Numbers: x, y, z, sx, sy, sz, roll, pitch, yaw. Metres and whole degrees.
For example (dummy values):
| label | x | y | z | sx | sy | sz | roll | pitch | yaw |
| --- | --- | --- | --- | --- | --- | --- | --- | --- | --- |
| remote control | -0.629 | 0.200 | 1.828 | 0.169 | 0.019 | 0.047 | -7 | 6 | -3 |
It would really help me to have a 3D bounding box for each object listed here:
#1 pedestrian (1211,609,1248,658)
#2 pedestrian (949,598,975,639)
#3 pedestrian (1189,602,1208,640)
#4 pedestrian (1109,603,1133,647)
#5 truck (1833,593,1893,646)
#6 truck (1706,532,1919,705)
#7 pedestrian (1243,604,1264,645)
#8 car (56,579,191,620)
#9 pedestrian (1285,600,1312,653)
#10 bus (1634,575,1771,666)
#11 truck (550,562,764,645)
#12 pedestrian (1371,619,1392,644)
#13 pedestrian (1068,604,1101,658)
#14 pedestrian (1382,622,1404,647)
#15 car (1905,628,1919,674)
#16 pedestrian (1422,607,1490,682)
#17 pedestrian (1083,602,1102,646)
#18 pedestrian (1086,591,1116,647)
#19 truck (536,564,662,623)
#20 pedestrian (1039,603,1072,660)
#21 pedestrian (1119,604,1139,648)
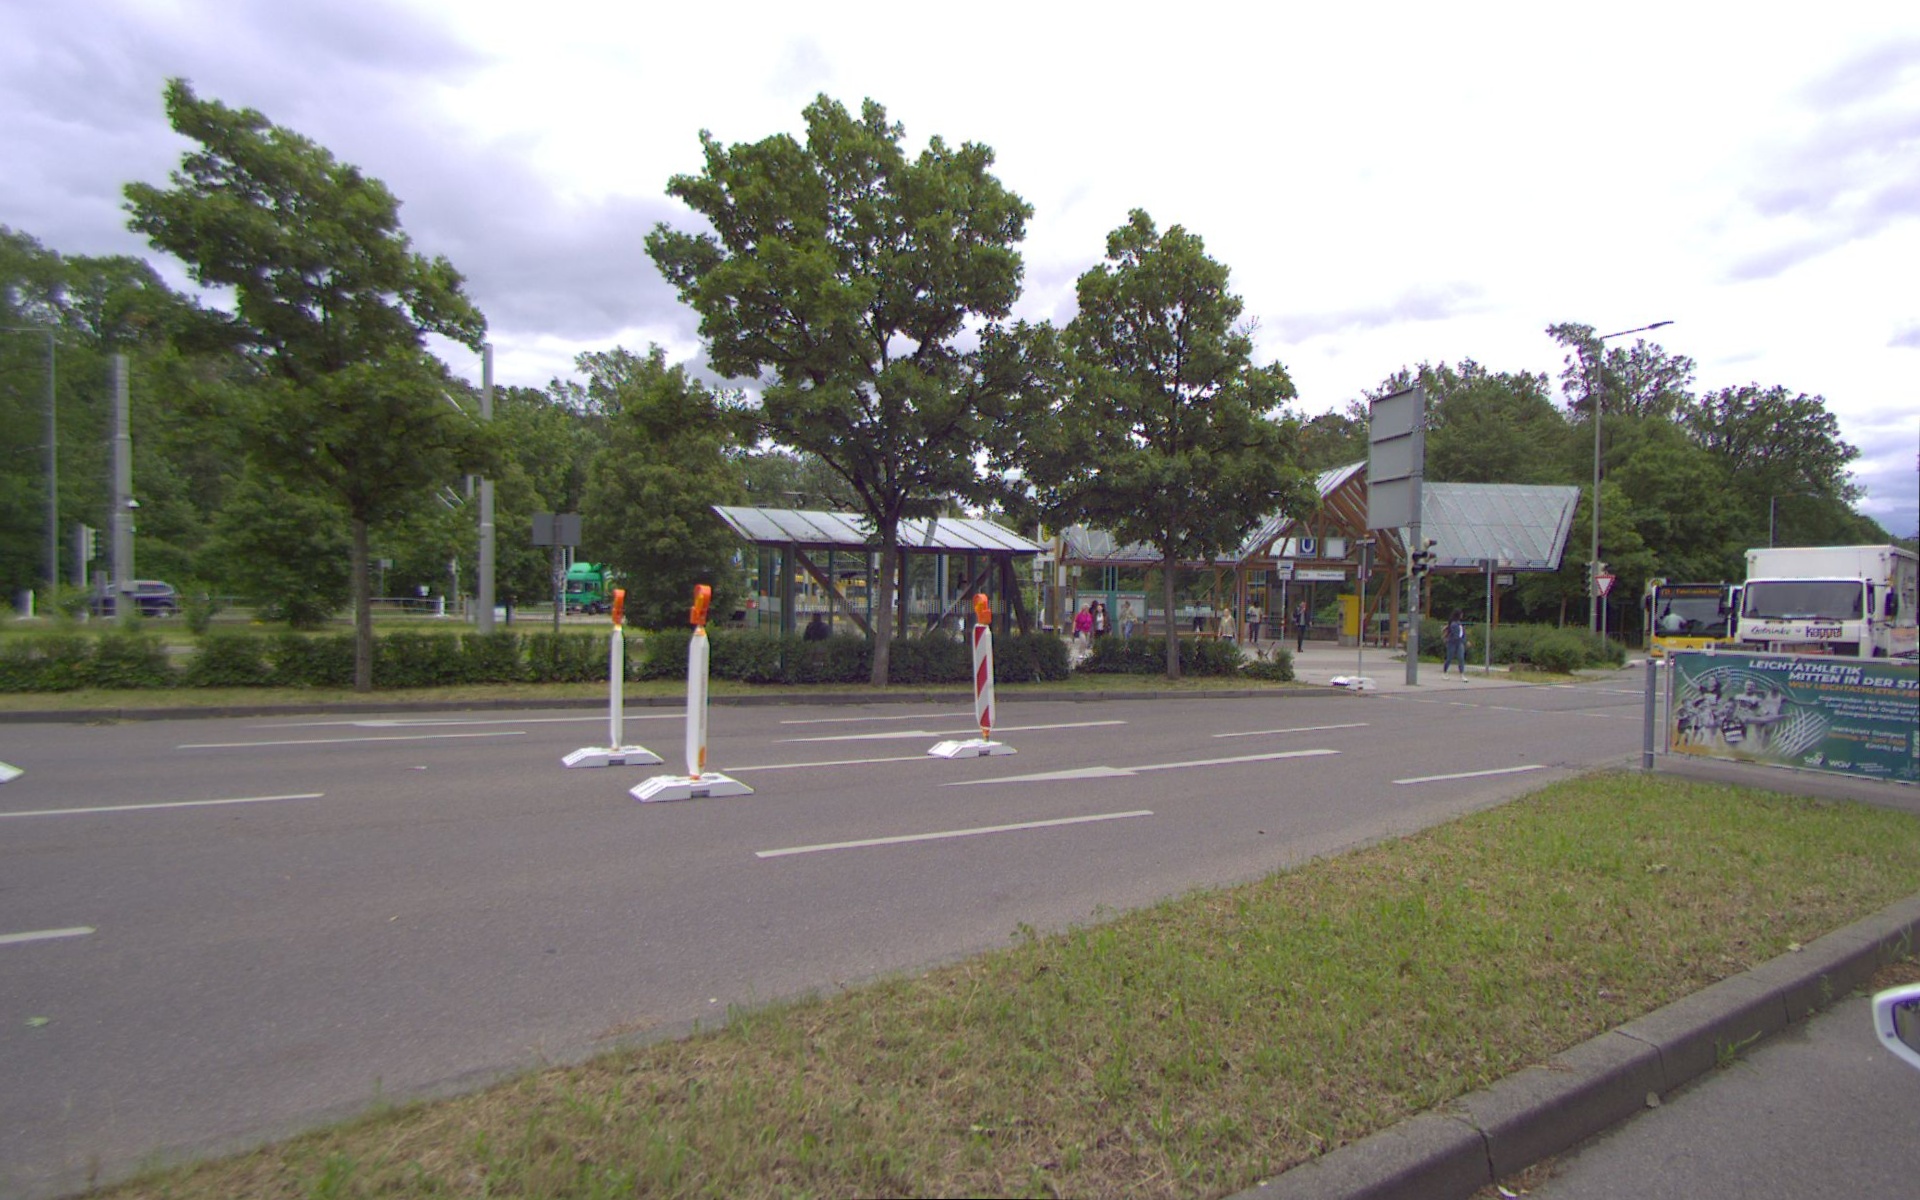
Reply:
| label | x | y | z | sx | sy | sz | roll | pitch | yaw |
| --- | --- | --- | --- | --- | --- | --- | --- | --- | --- |
| pedestrian | 8.796 | 1.083 | 32.838 | 0.868 | 1.545 | 0.759 | 0 | 2 | -38 |
| pedestrian | 0.094 | 0.741 | 41.072 | 0.770 | 1.647 | 0.769 | 2 | 2 | 23 |
| pedestrian | 10.151 | 0.882 | 42.804 | 0.598 | 1.575 | 0.463 | 1 | 2 | -18 |
| pedestrian | 6.171 | 0.948 | 38.603 | 0.576 | 1.647 | 0.669 | 1 | 2 | -28 |
| truck | 60.885 | 1.413 | 67.842 | 2.707 | 3.361 | 7.127 | -1 | -3 | 40 |
| truck | 18.839 | 0.434 | 21.949 | 6.153 | 3.281 | 2.608 | 2 | -2 | -39 |
| pedestrian | 11.807 | 0.984 | 40.410 | 0.662 | 1.618 | 0.673 | 2 | 1 | 7 |
| car | -38.026 | -0.046 | 45.785 | 1.963 | 1.706 | 4.306 | 2 | 1 | 26 |
| pedestrian | 12.179 | 0.942 | 36.112 | 0.752 | 1.833 | 0.994 | 2 | 2 | 25 |
| bus | 29.347 | 0.784 | 39.464 | 9.697 | 3.168 | 2.869 | 2 | 0 | -45 |
| truck | -9.043 | 0.057 | 30.722 | 2.559 | 2.199 | 6.293 | 2 | 1 | 28 |
| pedestrian | 17.235 | 1.278 | 41.050 | 0.558 | 0.997 | 0.545 | 1 | 2 | -26 |
| pedestrian | 3.754 | 0.922 | 30.316 | 0.778 | 1.573 | 0.774 | 1 | 1 | -10 |
| pedestrian | 17.838 | 1.421 | 41.370 | 0.558 | 0.997 | 0.554 | 1 | 2 | -27 |
| car | 34.292 | 1.787 | 34.833 | 4.274 | 1.529 | 1.792 | 2 | -2 | -41 |
| pedestrian | 11.482 | 1.013 | 23.282 | 1.075 | 1.698 | 0.909 | 1 | 0 | -13 |
| pedestrian | 5.125 | 0.918 | 38.958 | 0.573 | 1.647 | 0.673 | 1 | 1 | -3 |
| pedestrian | 4.052 | 0.543 | 28.845 | 0.761 | 1.566 | 0.629 | 3 | 1 | 6 |
| truck | -26.334 | -0.505 | 73.858 | 3.715 | 3.934 | 8.766 | 2 | 1 | 23 |
| pedestrian | 2.901 | 0.951 | 30.490 | 0.675 | 1.688 | 0.867 | 1 | 1 | -18 |
| pedestrian | 6.382 | 0.977 | 38.031 | 0.573 | 1.647 | 0.673 | 1 | 1 | -3 |
